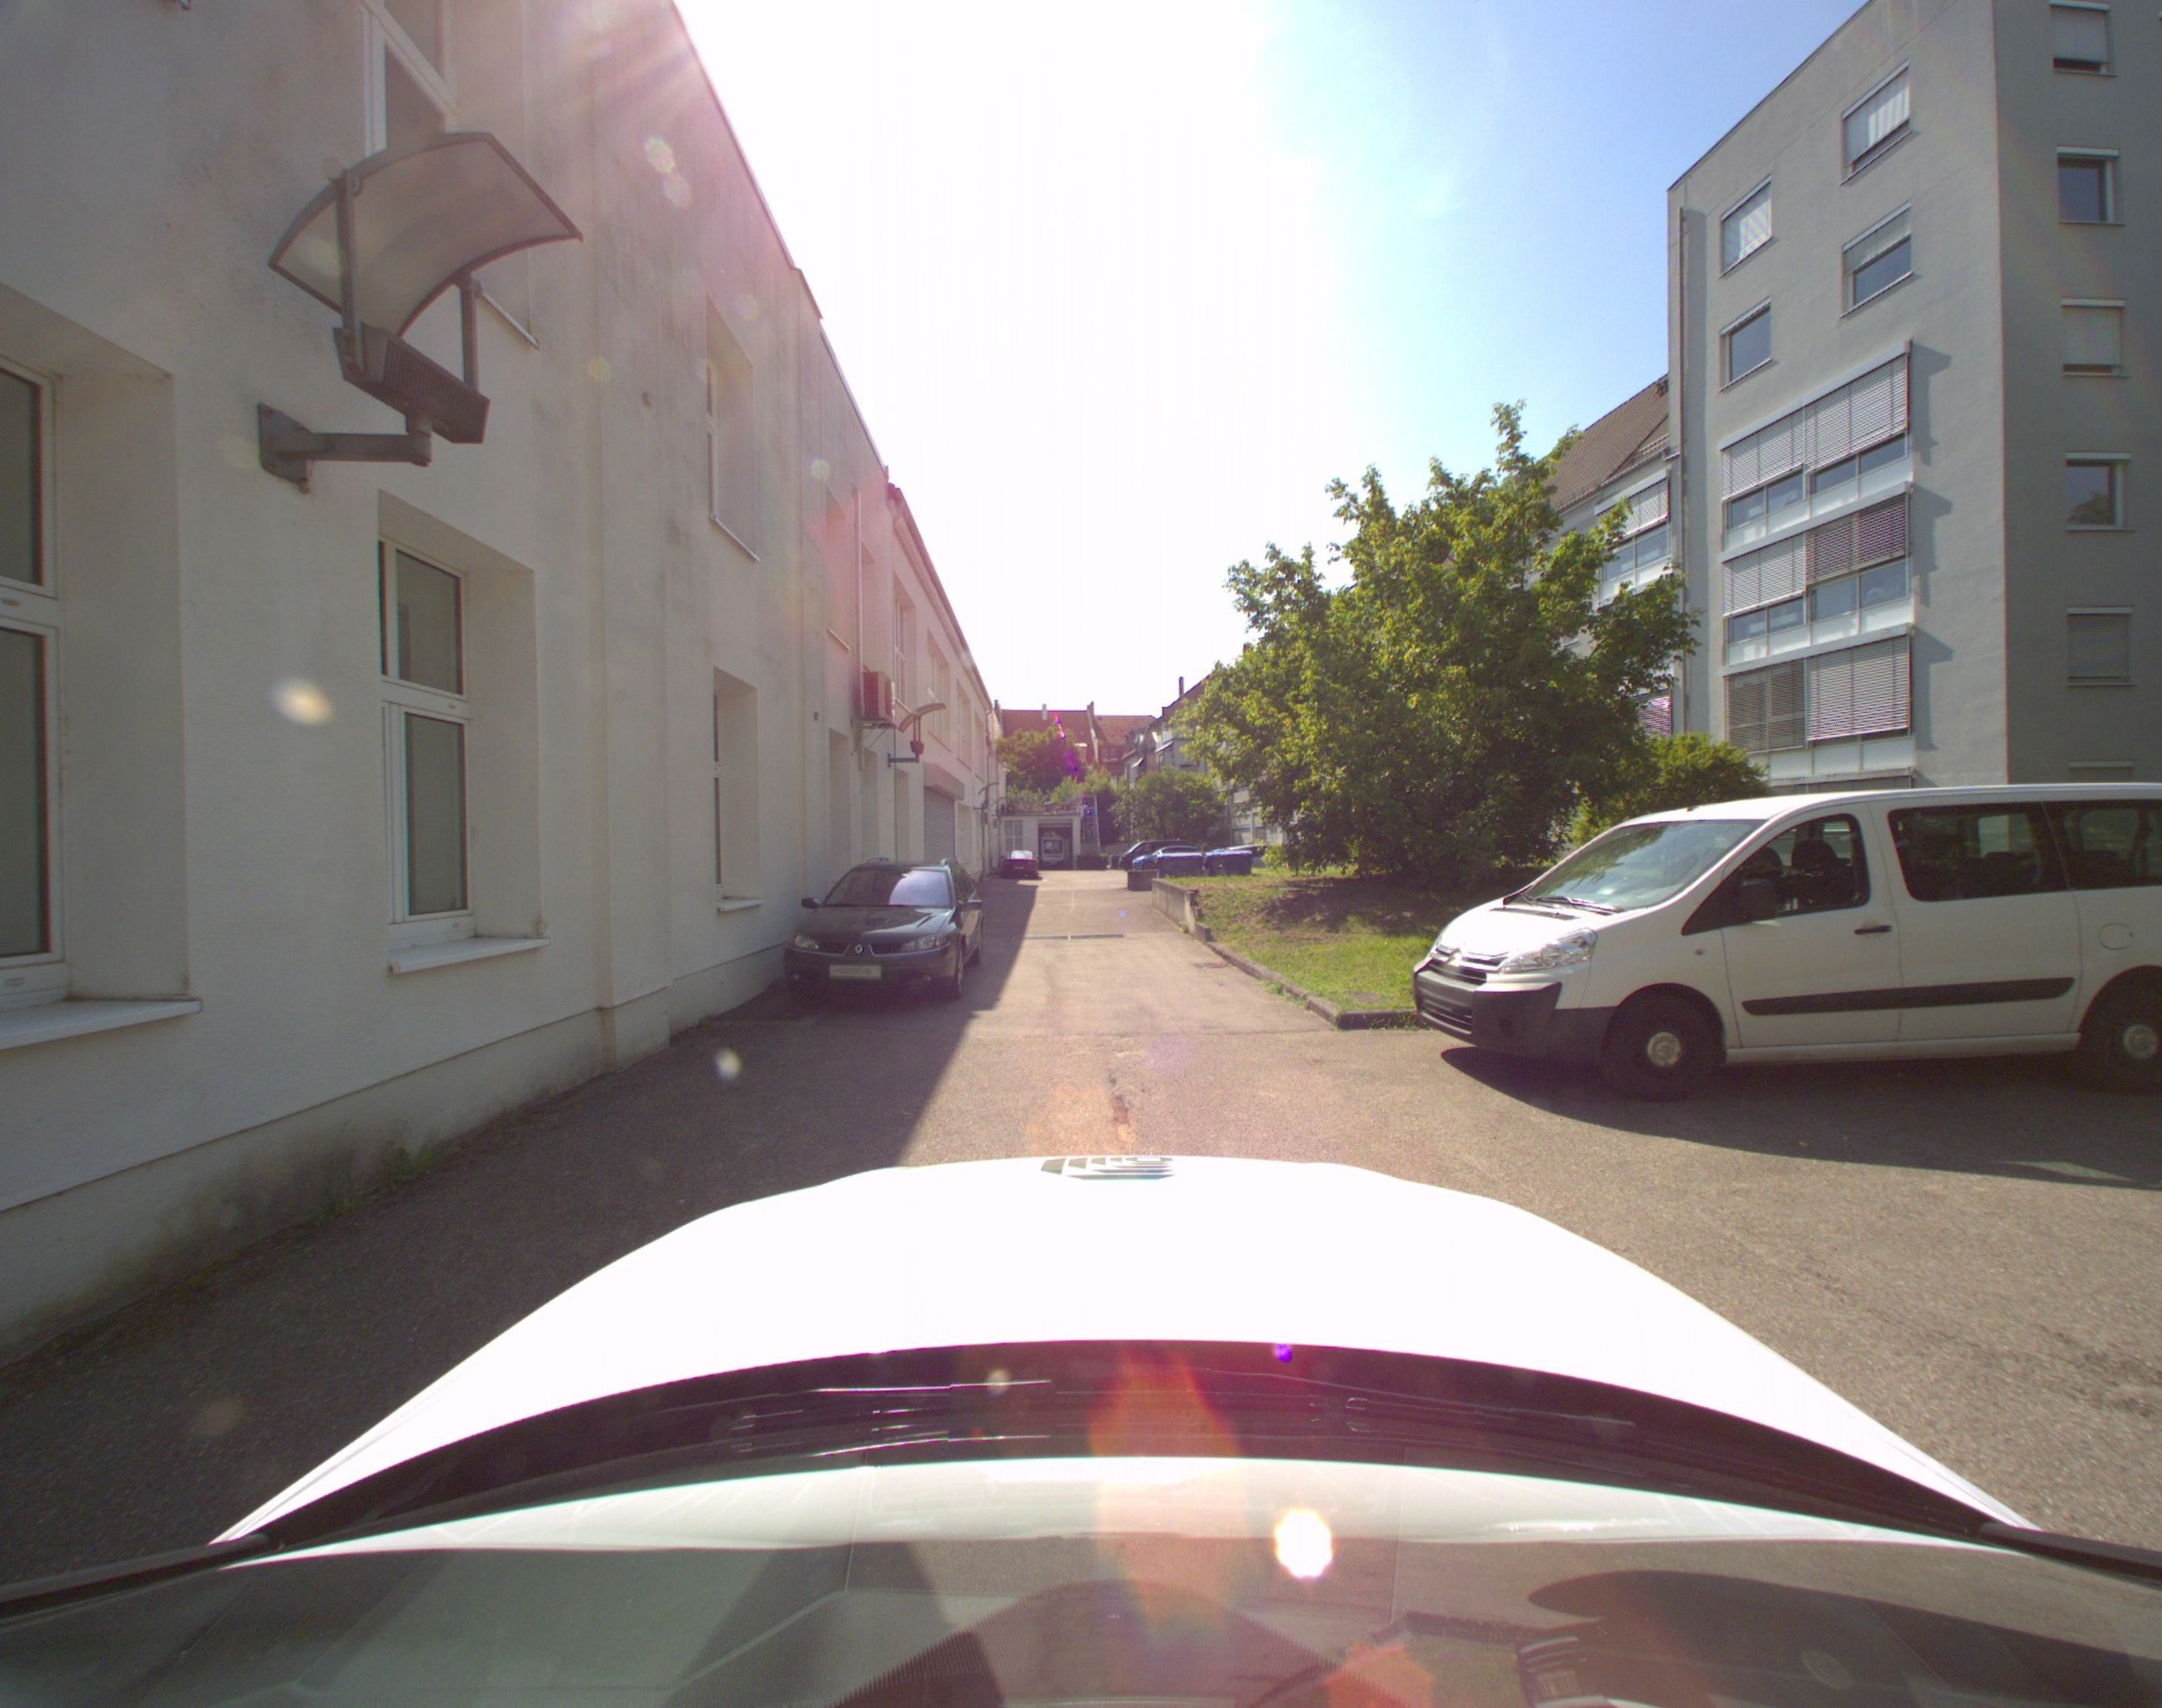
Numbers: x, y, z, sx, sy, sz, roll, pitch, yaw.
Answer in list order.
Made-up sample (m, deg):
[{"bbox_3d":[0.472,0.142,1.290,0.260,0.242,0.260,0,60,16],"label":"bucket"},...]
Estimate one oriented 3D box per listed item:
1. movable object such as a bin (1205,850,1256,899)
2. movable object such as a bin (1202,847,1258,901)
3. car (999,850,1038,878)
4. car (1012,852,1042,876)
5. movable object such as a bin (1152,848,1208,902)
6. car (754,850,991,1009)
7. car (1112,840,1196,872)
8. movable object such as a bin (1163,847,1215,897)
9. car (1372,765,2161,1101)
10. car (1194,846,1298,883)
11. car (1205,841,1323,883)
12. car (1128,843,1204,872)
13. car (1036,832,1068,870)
[{"bbox_3d":[4.288,0.558,23.398,1.153,1.336,1.140,-2,0,-5],"label":"movable object such as a bin"},{"bbox_3d":[3.922,0.516,21.507,1.243,1.340,1.142,-2,0,0],"label":"movable object such as a bin"},{"bbox_3d":[-3.140,0.463,41.491,1.848,1.319,3.996,0,0,-3],"label":"car"},{"bbox_3d":[-3.163,0.545,48.492,1.610,1.295,3.756,-2,0,-2],"label":"car"},{"bbox_3d":[2.592,0.547,21.454,1.243,1.319,1.142,-3,-1,-1],"label":"movable object such as a bin"},{"bbox_3d":[-2.162,0.748,9.741,1.832,1.442,4.425,1,-1,-3],"label":"car"},{"bbox_3d":[4.655,0.102,52.121,4.960,1.767,2.086,-2,1,-15],"label":"car"},{"bbox_3d":[3.070,0.485,23.271,1.245,1.355,1.127,-2,0,-6],"label":"movable object such as a bin"},{"bbox_3d":[4.971,0.443,5.904,5.009,1.933,1.999,-1,1,-2],"label":"car"},{"bbox_3d":[6.910,0.408,34.388,3.977,1.394,1.687,-2,0,-3],"label":"car"},{"bbox_3d":[6.906,0.279,30.909,3.981,1.427,1.808,-2,0,-5],"label":"car"},{"bbox_3d":[5.057,0.185,48.886,4.223,1.532,1.996,-2,1,-6],"label":"car"},{"bbox_3d":[-2.157,-0.220,61.368,2.168,2.607,6.729,-2,0,-2],"label":"car"}]
